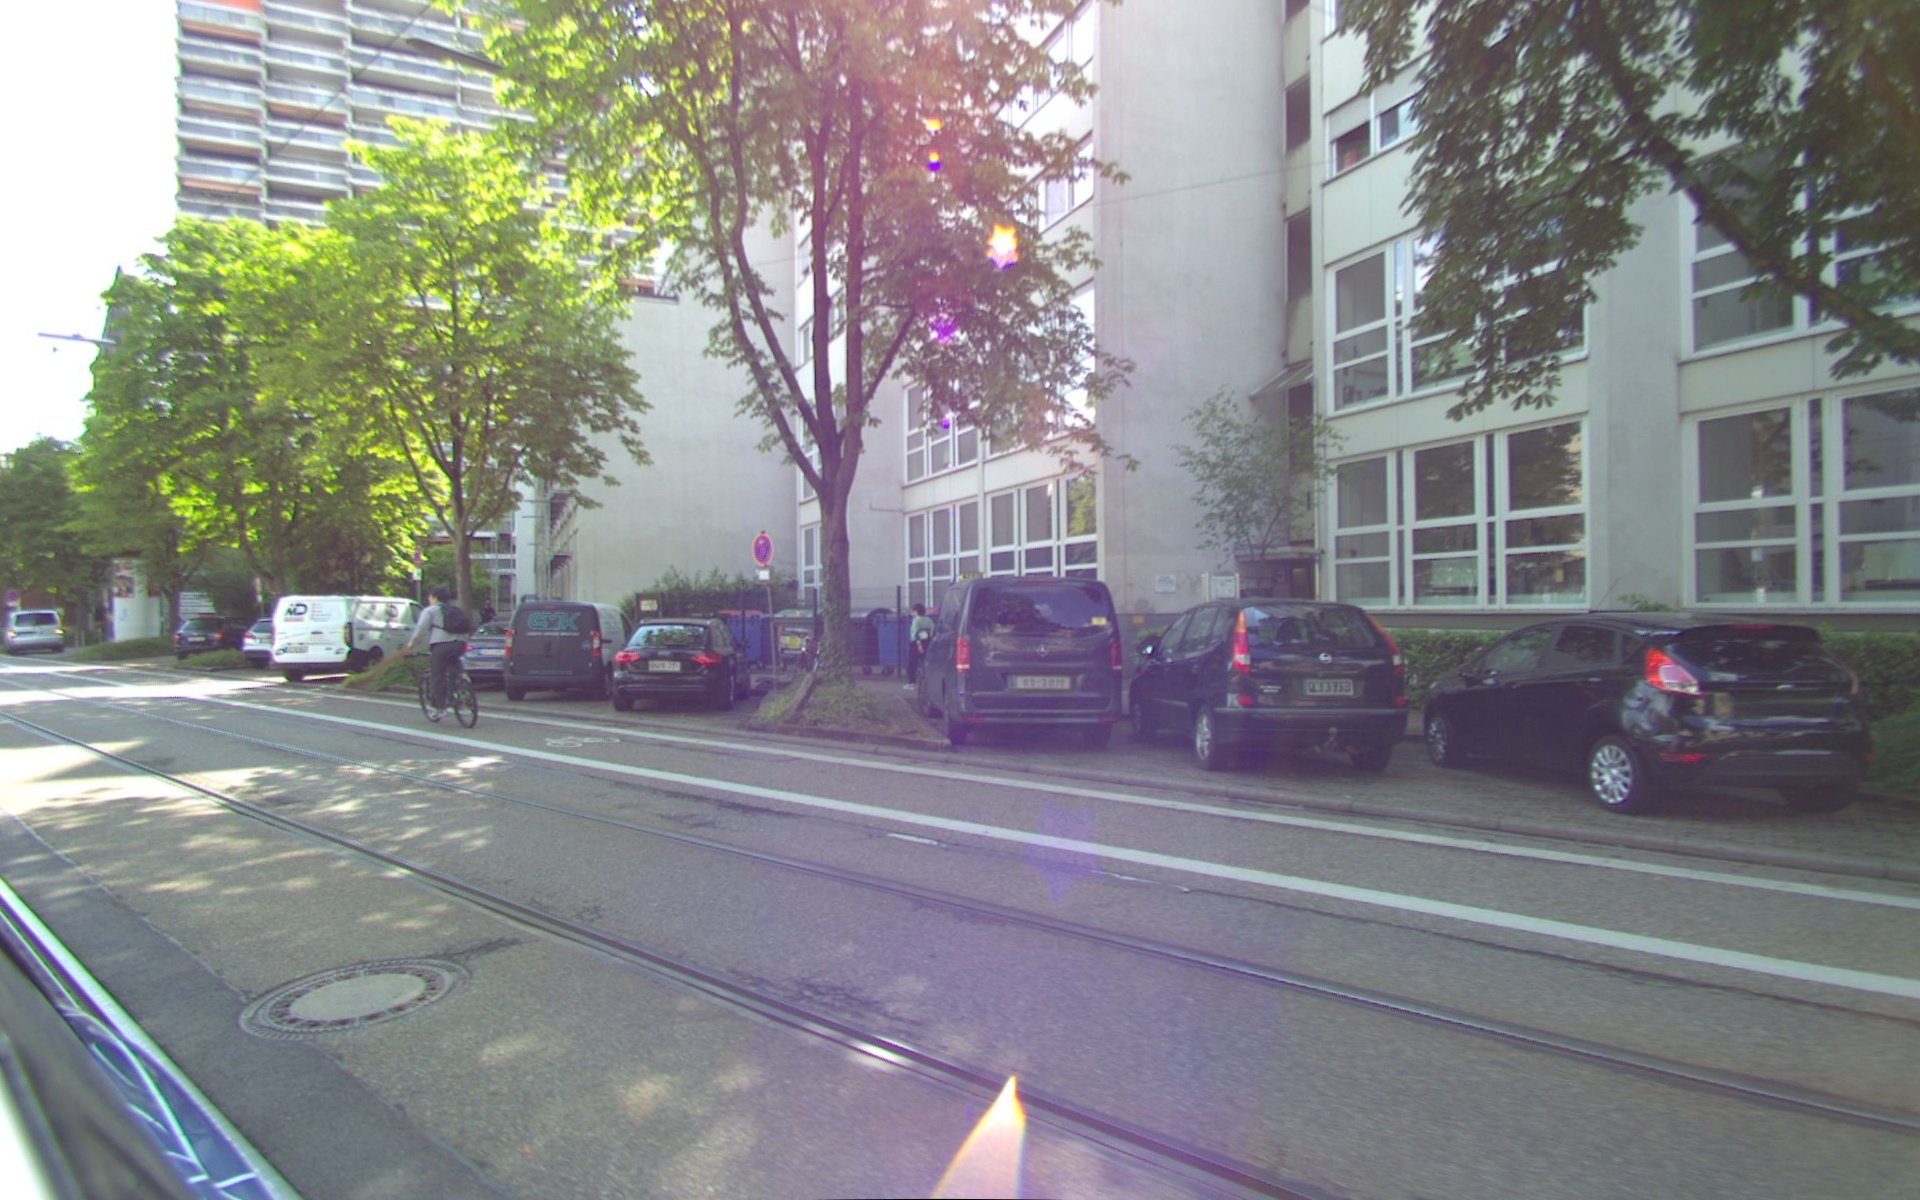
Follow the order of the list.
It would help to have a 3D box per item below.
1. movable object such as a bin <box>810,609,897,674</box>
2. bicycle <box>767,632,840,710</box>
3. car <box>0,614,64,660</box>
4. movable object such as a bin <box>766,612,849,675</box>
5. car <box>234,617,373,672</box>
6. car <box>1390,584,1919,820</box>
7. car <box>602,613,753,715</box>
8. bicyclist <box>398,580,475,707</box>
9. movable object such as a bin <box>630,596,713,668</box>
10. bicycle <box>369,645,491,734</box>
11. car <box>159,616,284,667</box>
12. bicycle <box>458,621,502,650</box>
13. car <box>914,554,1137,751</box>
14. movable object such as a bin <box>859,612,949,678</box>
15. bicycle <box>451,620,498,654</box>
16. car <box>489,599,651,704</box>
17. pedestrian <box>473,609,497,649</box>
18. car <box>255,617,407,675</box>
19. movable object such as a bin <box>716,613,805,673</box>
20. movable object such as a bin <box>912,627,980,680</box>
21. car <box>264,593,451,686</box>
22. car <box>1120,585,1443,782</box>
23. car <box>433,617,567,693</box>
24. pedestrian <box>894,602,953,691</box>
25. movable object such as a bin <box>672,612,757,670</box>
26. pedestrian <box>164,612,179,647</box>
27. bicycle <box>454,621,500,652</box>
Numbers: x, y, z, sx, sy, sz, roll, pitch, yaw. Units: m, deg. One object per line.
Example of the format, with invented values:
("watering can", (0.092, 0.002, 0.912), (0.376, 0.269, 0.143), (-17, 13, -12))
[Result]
("movable object such as a bin", (-2.300, 0.902, 21.824), (1.440, 1.337, 1.152), (-1, -4, 38))
("bicycle", (-2.469, 1.095, 16.198), (0.577, 1.127, 1.995), (0, -1, 9))
("car", (-42.294, 1.633, 45.848), (4.233, 1.865, 1.868), (-1, 2, 40))
("movable object such as a bin", (-3.504, 0.992, 23.302), (1.439, 1.391, 1.182), (-1, -4, 36))
("car", (-19.346, 1.258, 30.059), (1.794, 1.512, 4.199), (-1, -1, -7))
("car", (5.417, 0.738, 8.491), (1.715, 1.495, 4.002), (1, -2, -3))
("car", (-4.423, 0.992, 16.391), (1.733, 1.428, 4.006), (1, -2, -7))
("bicyclist", (-6.829, 0.553, 13.204), (0.741, 1.588, 0.635), (-1, -1, 37))
("movable object such as a bin", (-7.502, 0.848, 26.374), (1.536, 1.795, 1.375), (-1, -3, 35))
("bicycle", (-7.006, 1.139, 13.331), (1.997, 1.048, 0.649), (-1, -1, 38))
("car", (-24.556, 1.332, 33.826), (1.715, 1.535, 3.891), (-1, 0, -7))
("bicycle", (-19.125, 1.400, 40.349), (1.553, 1.101, 0.544), (-1, -3, -27))
("car", (0.557, 0.643, 12.818), (1.887, 1.969, 5.175), (1, -2, -7))
("movable object such as a bin", (-1.159, 0.923, 20.896), (1.440, 1.293, 1.156), (-1, -4, 38))
("bicycle", (-17.761, 1.345, 37.022), (1.553, 1.171, 0.544), (-1, -3, -27))
("car", (-6.994, 0.928, 18.562), (1.734, 1.706, 3.718), (1, -2, -4))
("pedestrian", (-19.678, 1.196, 41.914), (0.659, 1.636, 0.635), (0, 0, 31))
("car", (-17.165, 1.210, 27.873), (1.795, 1.461, 4.174), (-1, -1, -3))
("movable object such as a bin", (-4.787, 1.041, 24.320), (1.536, 1.374, 1.375), (-1, -3, 35))
("movable object such as a bin", (-0.270, 1.059, 20.092), (0.934, 0.994, 0.955), (-1, -4, 39))
("car", (-14.448, 0.903, 24.623), (1.940, 2.012, 4.688), (-1, -1, -2))
("car", (2.977, 0.774, 10.350), (1.714, 1.605, 4.004), (1, -2, -5))
("car", (-9.479, 1.127, 21.176), (1.694, 1.428, 4.009), (1, -2, -12))
("pedestrian", (-0.670, 0.831, 18.571), (0.880, 1.588, 0.637), (-1, -1, 36))
("movable object such as a bin", (-6.130, 1.029, 25.285), (1.536, 1.374, 1.375), (-1, -3, 35))
("pedestrian", (-41.030, 1.527, 52.689), (0.517, 1.767, 0.636), (-2, 3, -43))
("bicycle", (-18.392, 1.395, 38.560), (1.553, 1.130, 0.544), (-1, -3, -27))
